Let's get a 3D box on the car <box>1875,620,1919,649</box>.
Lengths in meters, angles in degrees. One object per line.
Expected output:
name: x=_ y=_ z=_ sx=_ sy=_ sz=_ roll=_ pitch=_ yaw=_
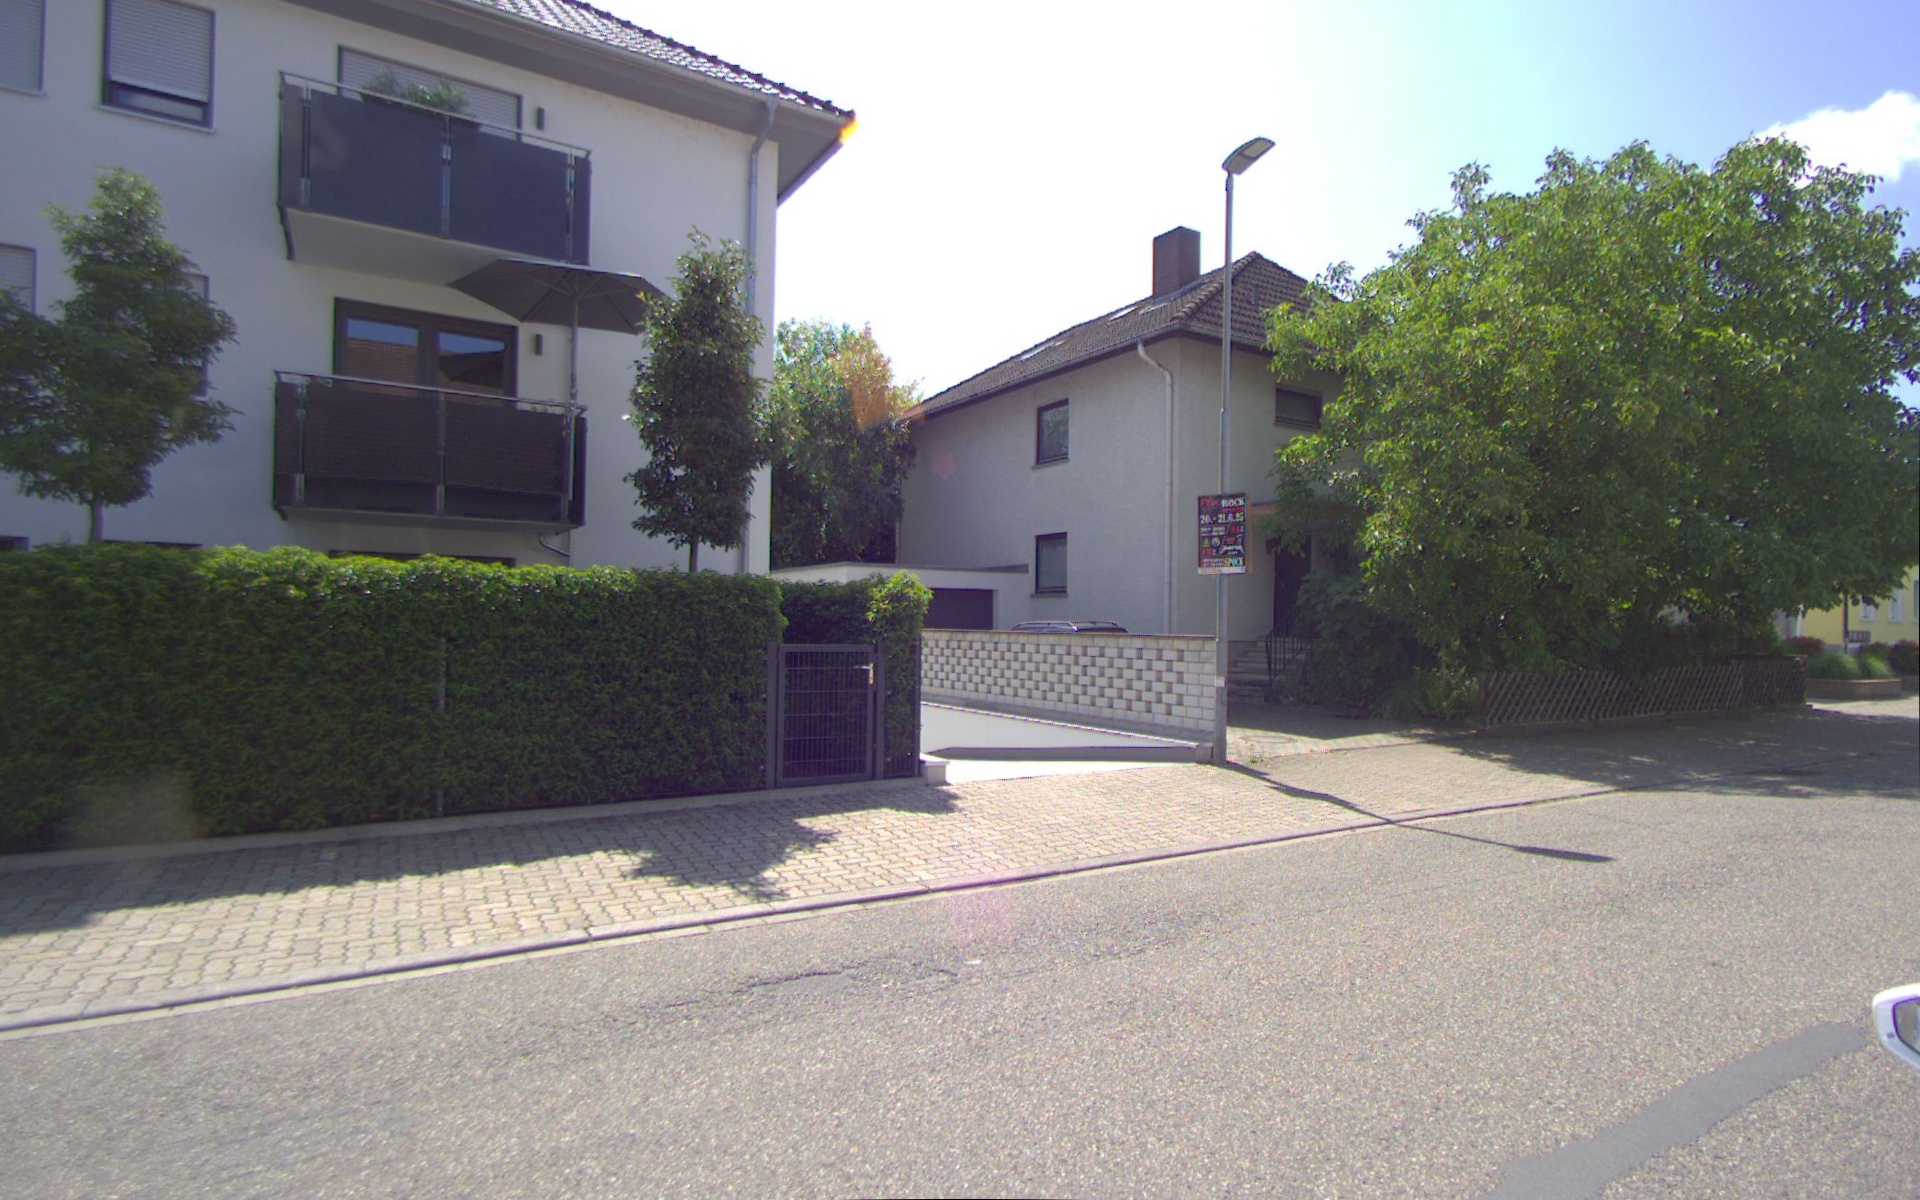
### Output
car: x=56.667 y=2.116 z=58.974 sx=4.172 sy=1.508 sz=1.747 roll=4 pitch=3 yaw=2

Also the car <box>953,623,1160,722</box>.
car: x=1.577 y=1.180 z=17.732 sx=1.772 sy=1.512 sz=3.896 roll=0 pitch=-1 yaw=-29
